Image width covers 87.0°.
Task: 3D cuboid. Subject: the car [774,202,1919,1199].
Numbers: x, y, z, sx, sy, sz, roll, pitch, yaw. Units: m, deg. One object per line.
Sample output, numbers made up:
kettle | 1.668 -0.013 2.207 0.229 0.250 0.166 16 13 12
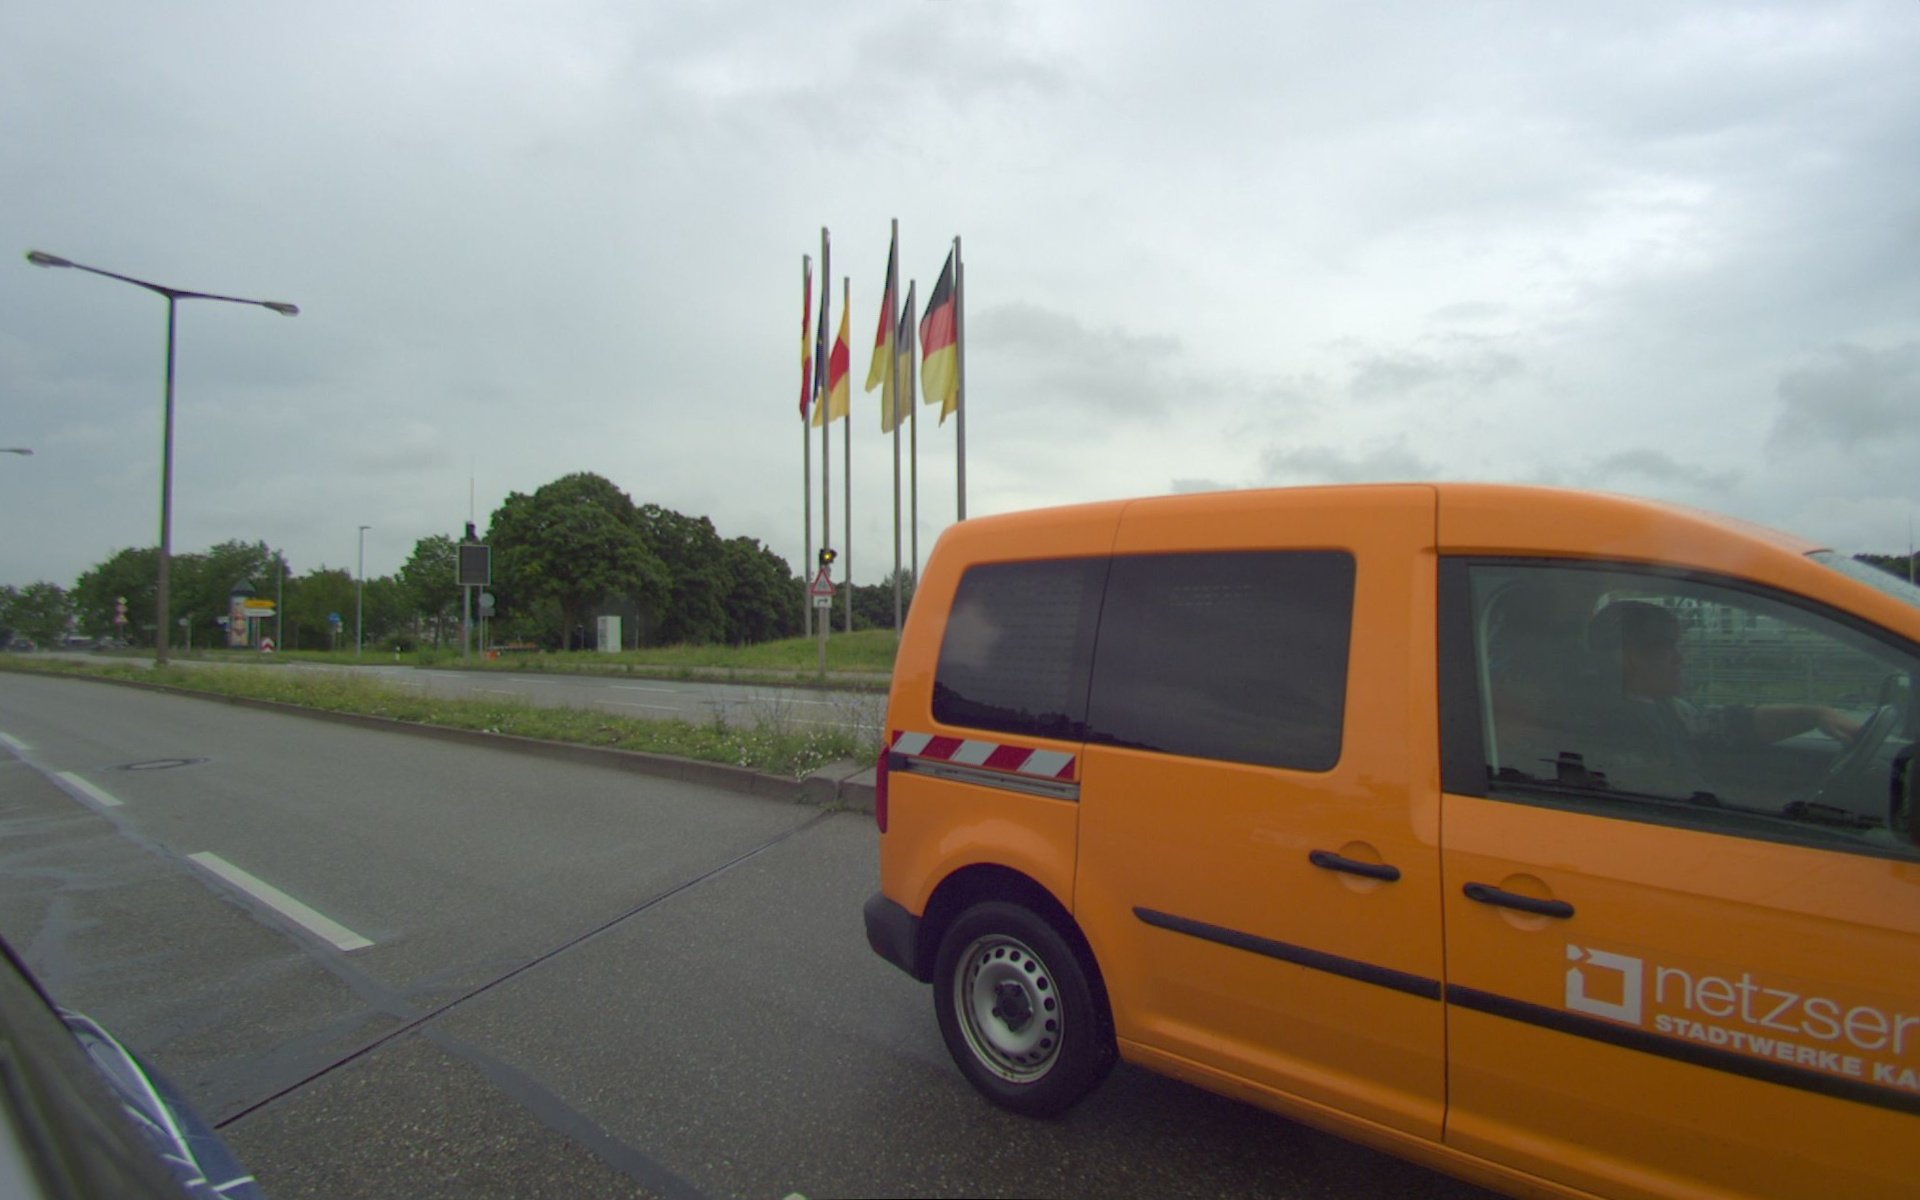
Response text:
car | 1.739 0.388 2.518 4.847 2.034 1.716 0 0 41

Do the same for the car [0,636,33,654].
car | -92.652 4.394 99.283 4.024 1.764 1.828 -2 -1 37
